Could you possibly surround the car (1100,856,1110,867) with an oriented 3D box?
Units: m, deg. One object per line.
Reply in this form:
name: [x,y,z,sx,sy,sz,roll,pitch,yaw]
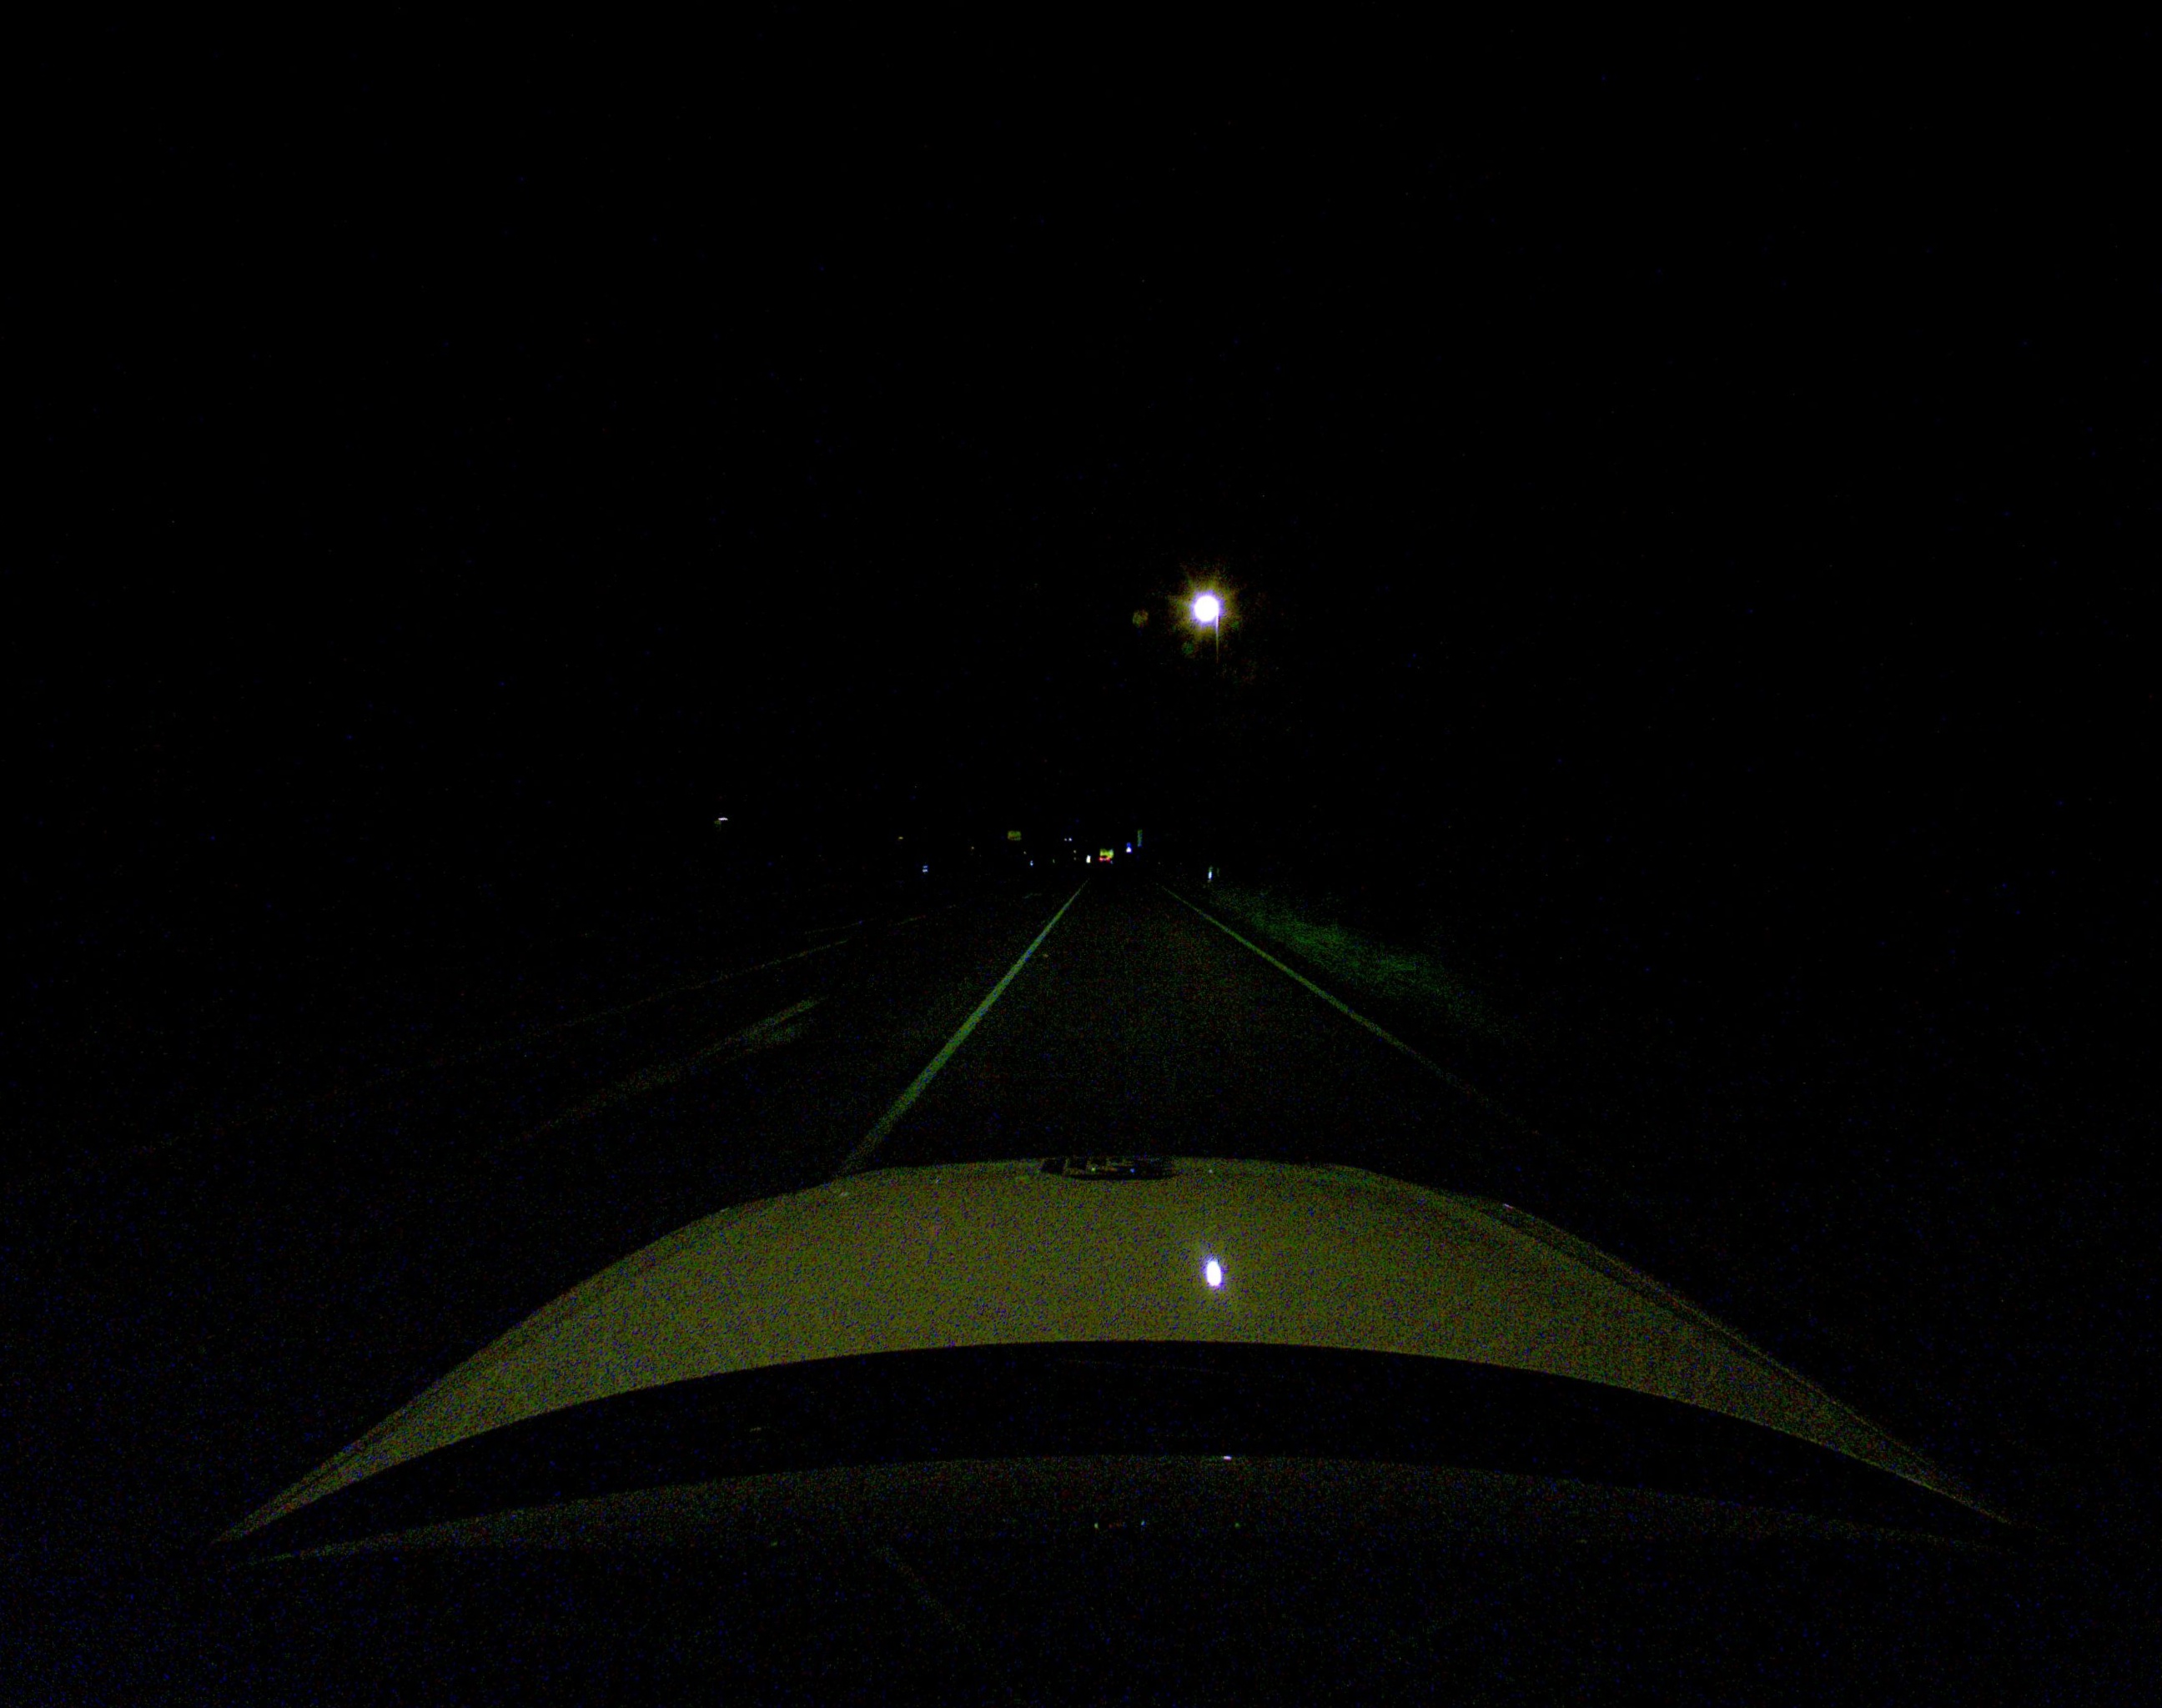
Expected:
car: [4.610,1.482,156.890,1.986,2.014,4.000,1,-3,1]
